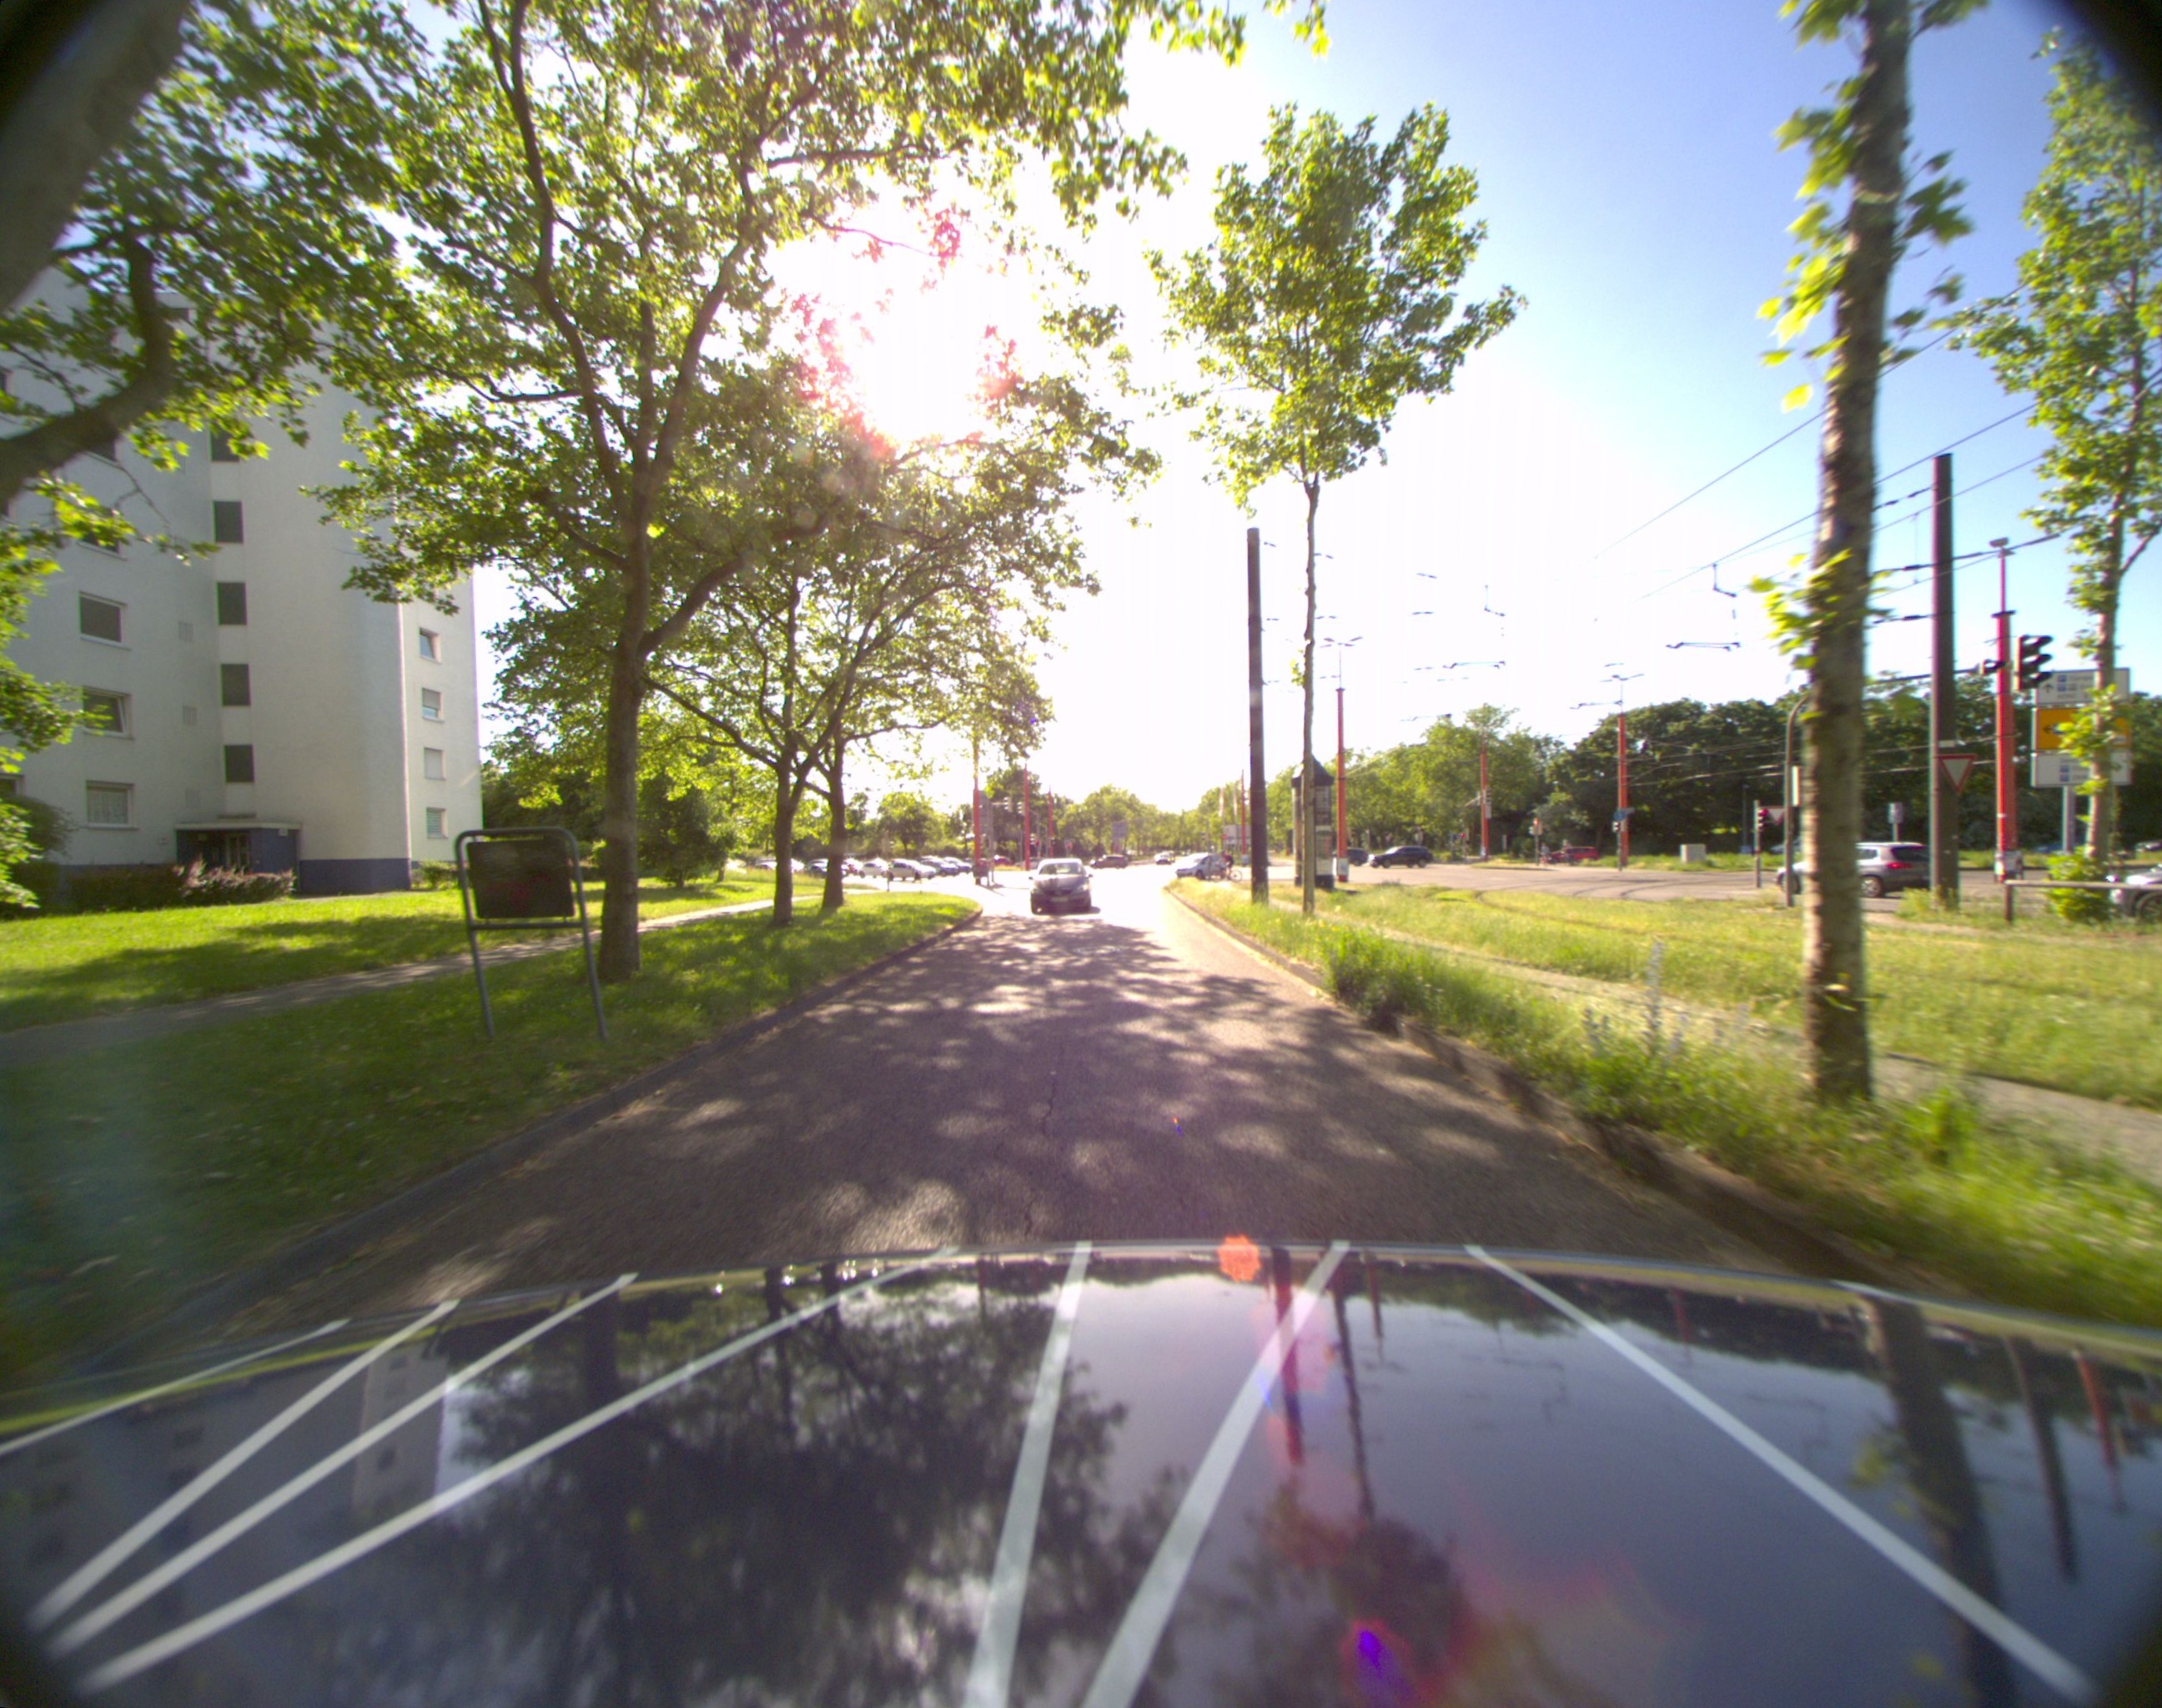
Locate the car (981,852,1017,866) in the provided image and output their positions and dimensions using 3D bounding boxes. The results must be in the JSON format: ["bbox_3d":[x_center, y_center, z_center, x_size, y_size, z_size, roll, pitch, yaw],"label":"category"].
[{"bbox_3d":[-8.970,0.587,83.111,3.662,1.450,1.592,-1,1,26],"label":"car"}]

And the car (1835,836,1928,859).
[{"bbox_3d":[54.283,-0.419,51.636,3.990,1.501,1.803,-1,0,27],"label":"car"}]

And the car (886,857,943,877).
[{"bbox_3d":[-13.324,1.038,60.879,4.274,1.473,1.803,-1,2,29],"label":"car"}]

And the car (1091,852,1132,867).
[{"bbox_3d":[3.102,0.545,76.782,3.777,1.501,1.616,-1,0,23],"label":"car"}]

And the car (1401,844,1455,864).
[{"bbox_3d":[29.296,-0.006,64.239,3.989,1.645,1.803,-1,0,30],"label":"car"}]

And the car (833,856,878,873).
[{"bbox_3d":[-21.917,1.032,73.863,3.989,1.473,1.803,-1,2,29],"label":"car"}]

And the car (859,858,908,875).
[{"bbox_3d":[-17.462,1.089,67.113,3.989,1.384,1.803,-1,2,29],"label":"car"}]

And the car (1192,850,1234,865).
[{"bbox_3d":[13.266,0.342,76.376,3.776,1.497,1.616,-1,0,27],"label":"car"}]

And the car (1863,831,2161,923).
[{"bbox_3d":[19.168,0.404,15.659,1.798,1.607,4.234,-2,0,1],"label":"car"}]

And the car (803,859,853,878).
[{"bbox_3d":[-21.679,1.225,65.139,3.989,1.502,1.803,-1,2,29],"label":"car"}]

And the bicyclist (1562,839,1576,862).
[{"bbox_3d":[35.031,-0.227,54.595,0.562,1.642,0.715,-1,1,3],"label":"bicyclist"}]

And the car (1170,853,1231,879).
[{"bbox_3d":[7.686,0.761,48.755,3.912,1.579,1.700,-1,0,-41],"label":"car"}]

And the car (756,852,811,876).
[{"bbox_3d":[-28.965,0.979,73.874,5.180,2.075,2.095,-1,2,29],"label":"car"}]

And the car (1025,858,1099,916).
[{"bbox_3d":[-0.514,0.969,23.777,1.798,1.580,3.764,-2,0,6],"label":"car"}]

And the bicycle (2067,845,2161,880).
[{"bbox_3d":[33.940,0.294,24.804,0.661,1.101,2.043,1,-1,-12],"label":"bicycle"}]

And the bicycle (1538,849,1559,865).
[{"bbox_3d":[33.802,0.218,54.938,0.499,1.101,1.800,-1,1,3],"label":"bicycle"}]

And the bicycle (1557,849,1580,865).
[{"bbox_3d":[35.043,0.189,54.637,0.562,1.101,1.800,-1,1,3],"label":"bicycle"}]

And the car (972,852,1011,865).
[{"bbox_3d":[-11.074,0.567,94.609,4.636,1.501,1.799,-1,1,-3],"label":"car"}]

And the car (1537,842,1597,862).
[{"bbox_3d":[39.910,-0.164,62.504,3.990,1.501,1.803,-1,0,27],"label":"car"}]

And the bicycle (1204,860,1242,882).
[{"bbox_3d":[7.785,0.935,41.584,1.896,1.101,0.704,-1,1,24],"label":"bicycle"}]

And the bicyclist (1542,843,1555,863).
[{"bbox_3d":[33.794,-0.092,54.931,0.499,1.439,0.778,-1,1,3],"label":"bicyclist"}]

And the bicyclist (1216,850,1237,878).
[{"bbox_3d":[7.958,0.535,41.491,0.955,1.469,0.704,-1,1,24],"label":"bicyclist"}]

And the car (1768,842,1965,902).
[{"bbox_3d":[24.306,0.503,23.780,1.798,1.668,4.267,-1,0,1],"label":"car"}]

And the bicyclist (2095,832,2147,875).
[{"bbox_3d":[33.945,-0.008,24.804,0.661,1.372,0.791,1,-1,-12],"label":"bicyclist"}]

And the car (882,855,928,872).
[{"bbox_3d":[-16.482,0.905,71.217,3.989,1.502,1.803,-1,2,29],"label":"car"}]

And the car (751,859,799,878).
[{"bbox_3d":[-27.558,1.315,68.459,3.989,1.576,1.803,-1,2,29],"label":"car"}]

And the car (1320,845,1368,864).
[{"bbox_3d":[24.369,0.052,70.415,3.990,1.645,1.803,-1,0,28],"label":"car"}]

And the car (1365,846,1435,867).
[{"bbox_3d":[24.463,0.211,58.341,4.624,1.501,1.789,-1,0,-4],"label":"car"}]

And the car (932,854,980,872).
[{"bbox_3d":[-11.203,0.807,68.006,3.989,1.473,1.803,-1,2,29],"label":"car"}]

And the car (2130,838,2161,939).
[{"bbox_3d":[18.018,0.547,10.304,1.798,1.607,4.233,-1,0,1],"label":"car"}]

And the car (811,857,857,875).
[{"bbox_3d":[-22.786,1.138,70.054,3.989,1.497,1.803,-1,2,29],"label":"car"}]

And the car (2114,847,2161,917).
[{"bbox_3d":[24.314,0.607,15.080,1.799,1.501,4.266,-1,0,-1],"label":"car"}]

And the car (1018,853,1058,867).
[{"bbox_3d":[-4.895,0.659,86.129,4.236,1.501,1.803,-1,0,26],"label":"car"}]

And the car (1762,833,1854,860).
[{"bbox_3d":[53.127,-0.548,55.641,4.545,1.825,1.803,-1,0,27],"label":"car"}]

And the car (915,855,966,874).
[{"bbox_3d":[-11.892,0.918,64.324,3.989,1.473,1.803,-1,2,29],"label":"car"}]

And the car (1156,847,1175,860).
[{"bbox_3d":[10.433,-0.102,93.724,1.797,1.501,4.004,-1,0,12],"label":"car"}]

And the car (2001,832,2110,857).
[{"bbox_3d":[63.585,-0.600,49.684,3.990,1.501,1.803,-1,0,27],"label":"car"}]
